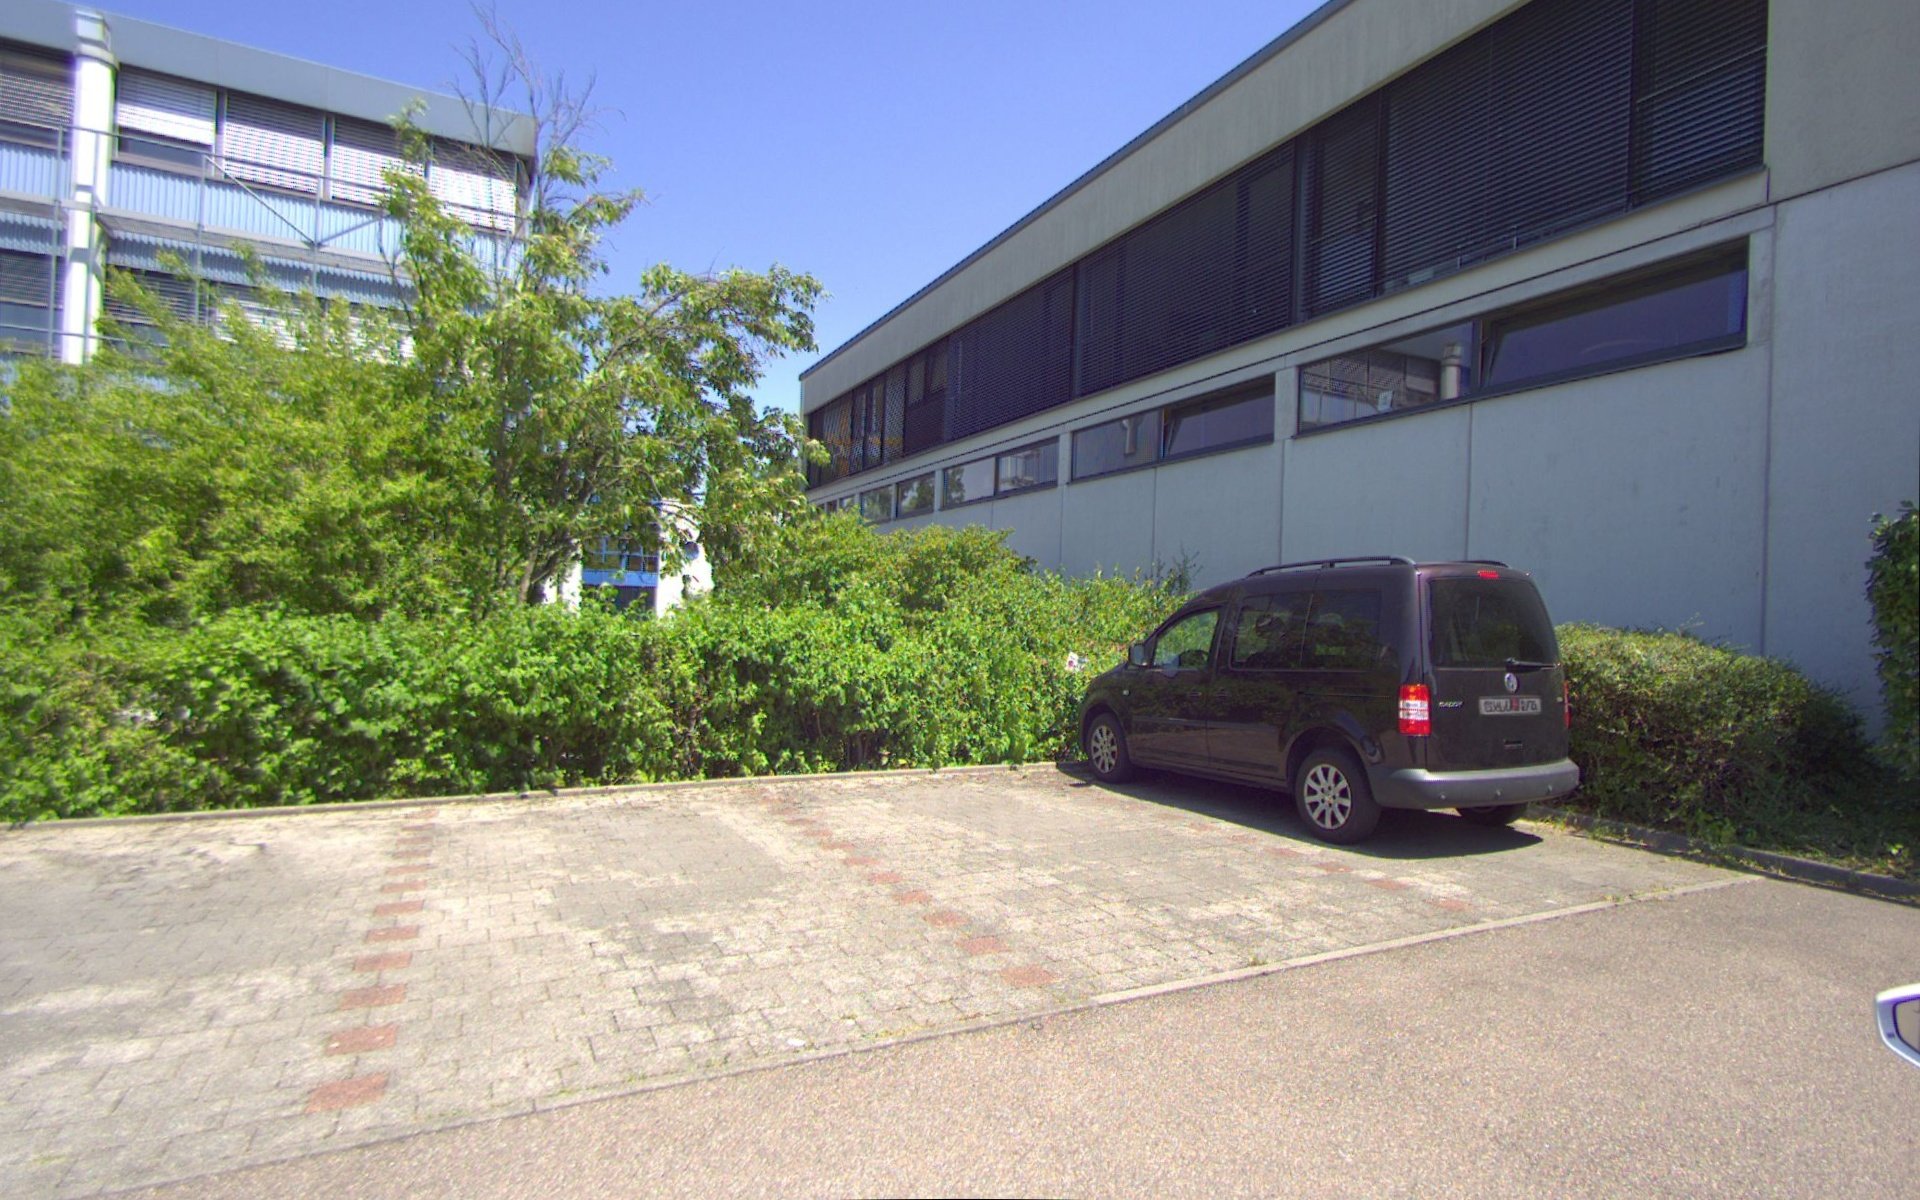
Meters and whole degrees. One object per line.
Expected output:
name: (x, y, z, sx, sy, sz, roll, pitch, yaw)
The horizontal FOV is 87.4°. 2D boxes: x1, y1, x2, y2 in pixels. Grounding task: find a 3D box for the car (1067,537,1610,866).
car: (2.632, 0.615, 8.034, 1.656, 1.909, 4.045, 1, -1, -25)
